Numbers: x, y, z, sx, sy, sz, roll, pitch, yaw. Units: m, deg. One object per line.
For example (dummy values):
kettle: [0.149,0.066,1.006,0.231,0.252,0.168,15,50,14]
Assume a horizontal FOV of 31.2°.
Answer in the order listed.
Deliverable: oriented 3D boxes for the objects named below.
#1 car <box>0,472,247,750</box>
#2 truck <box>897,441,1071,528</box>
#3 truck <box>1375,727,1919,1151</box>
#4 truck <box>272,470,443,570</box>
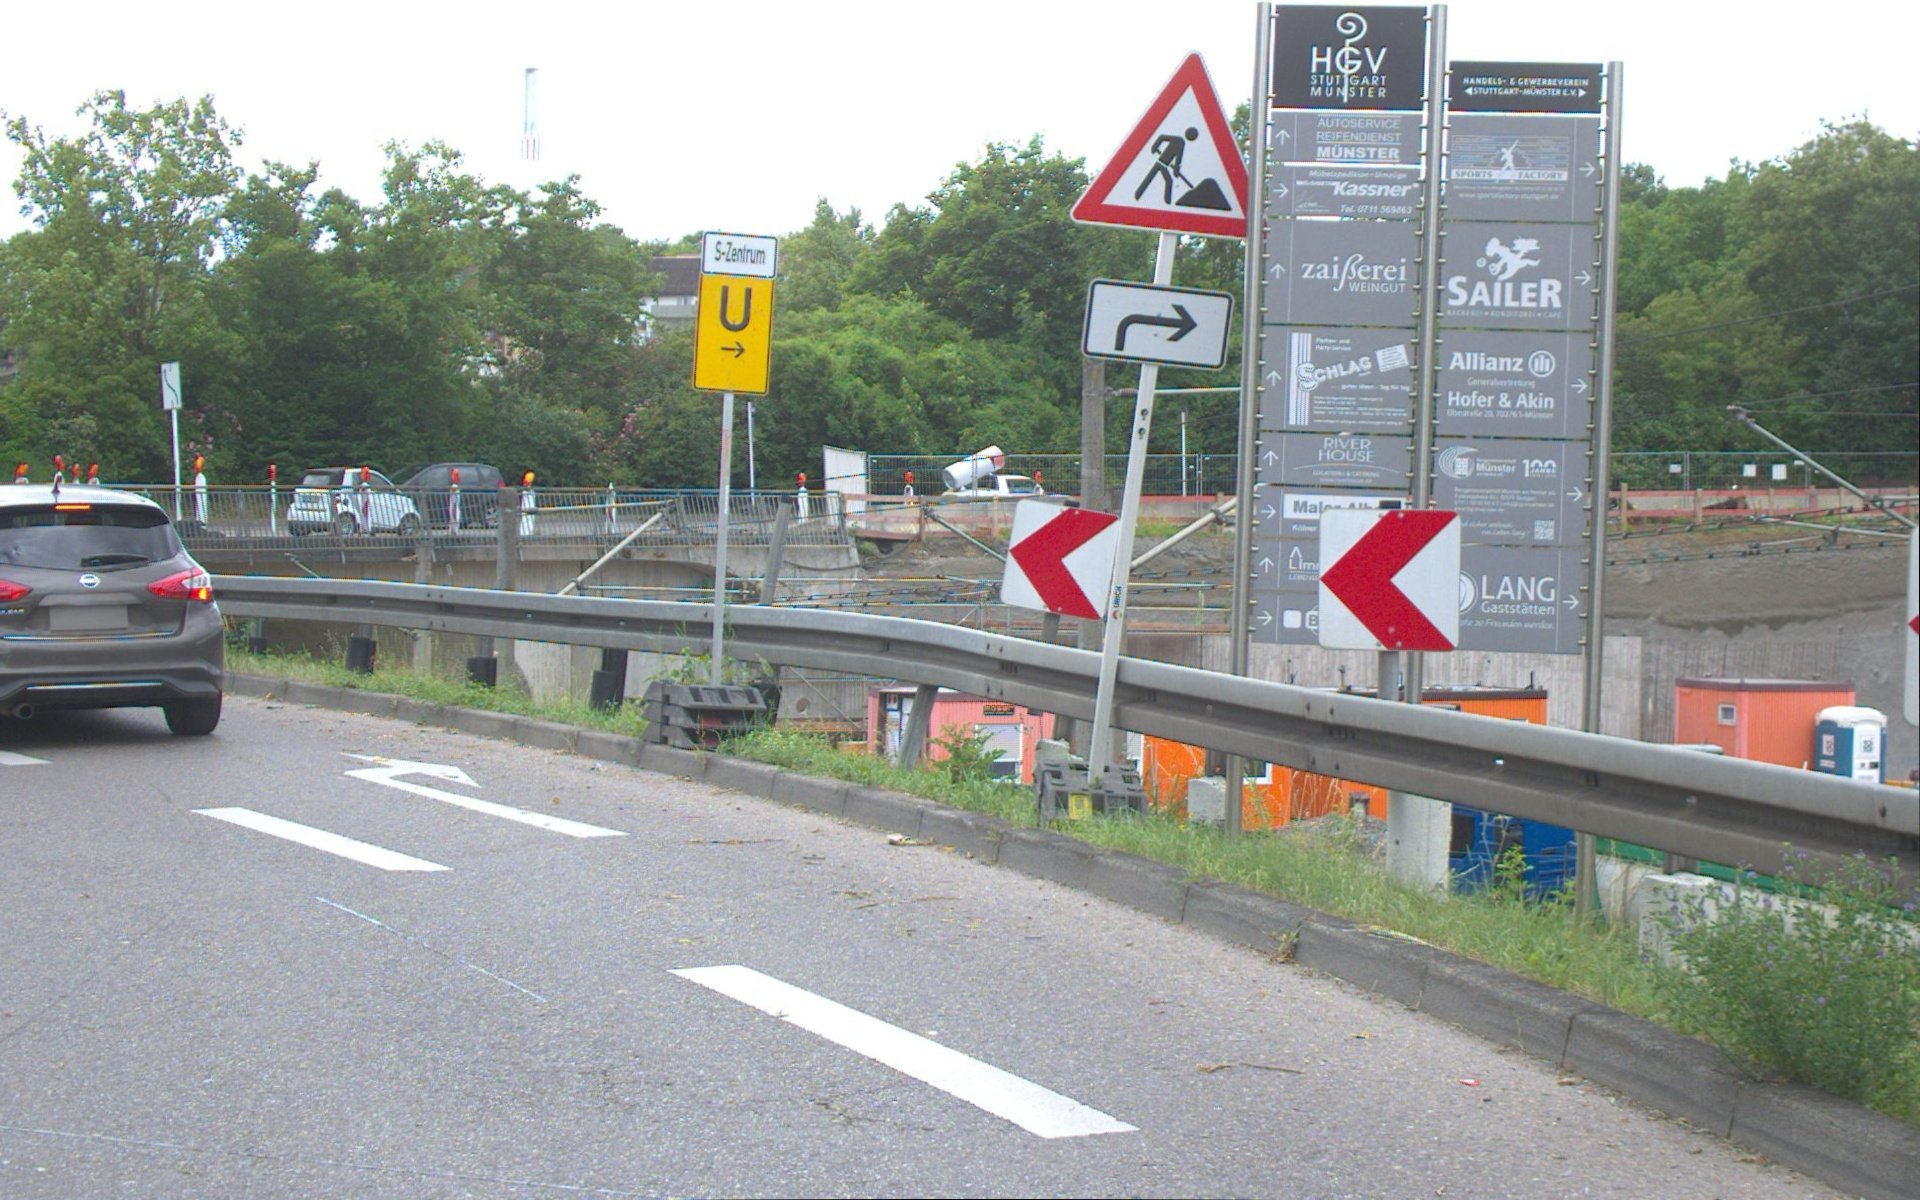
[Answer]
car: [-5.858,-0.012,21.338,1.797,1.546,4.001,-2,3,-27]
truck: [0.627,-2.931,87.802,3.988,2.007,2.000,2,1,-39]
truck: [9.991,4.040,42.619,2.837,3.879,11.621,0,3,-32]
truck: [-13.064,-1.719,74.641,1.739,2.007,3.219,3,1,39]
